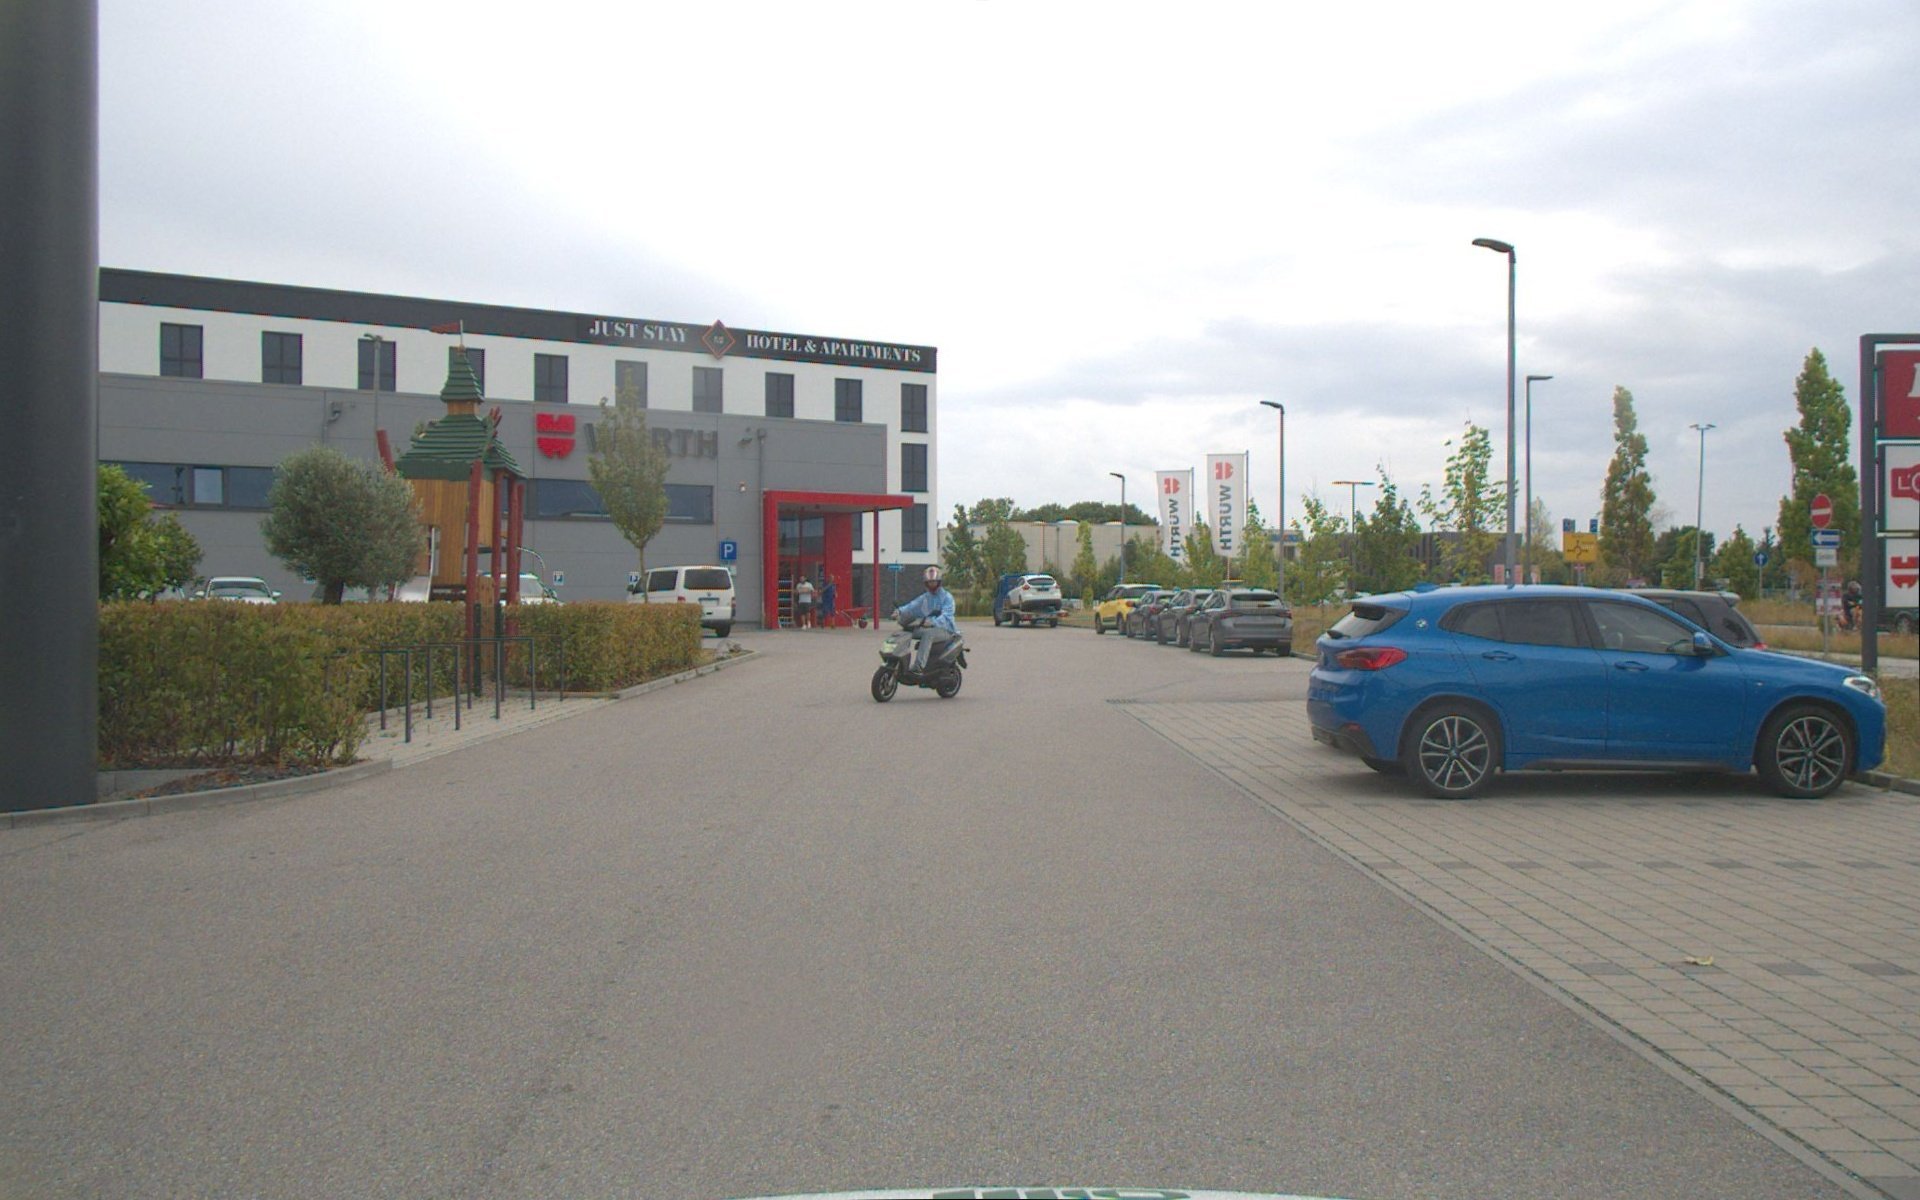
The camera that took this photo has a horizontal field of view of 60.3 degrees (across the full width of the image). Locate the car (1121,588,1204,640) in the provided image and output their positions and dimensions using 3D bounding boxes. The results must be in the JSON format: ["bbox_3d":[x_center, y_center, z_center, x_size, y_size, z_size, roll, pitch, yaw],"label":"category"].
[{"bbox_3d":[6.044,0.395,49.715,1.717,1.495,4.104,0,0,-4],"label":"car"}]

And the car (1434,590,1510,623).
[{"bbox_3d":[23.204,0.275,75.157,1.728,1.419,4.554,0,0,-5],"label":"car"}]

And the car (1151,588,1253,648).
[{"bbox_3d":[6.271,0.441,43.337,1.717,1.495,4.472,0,0,-4],"label":"car"}]

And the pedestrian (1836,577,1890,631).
[{"bbox_3d":[22.895,0.089,41.966,0.788,1.303,0.898,0,5,-6],"label":"pedestrian"}]

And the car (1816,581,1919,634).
[{"bbox_3d":[25.996,0.181,46.217,1.728,1.419,4.215,0,0,-5],"label":"car"}]

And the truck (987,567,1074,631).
[{"bbox_3d":[2.999,0.044,72.562,2.288,2.449,7.878,1,-3,-9],"label":"truck"}]

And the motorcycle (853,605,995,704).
[{"bbox_3d":[-0.451,0.694,21.757,0.781,1.229,1.910,-1,0,42],"label":"motorcycle"}]

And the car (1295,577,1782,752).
[{"bbox_3d":[5.307,0.564,15.568,3.977,1.485,1.776,-1,1,1],"label":"car"}]

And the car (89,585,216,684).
[{"bbox_3d":[-15.170,0.613,31.134,1.969,1.679,4.539,-2,0,-26],"label":"car"}]

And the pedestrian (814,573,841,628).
[{"bbox_3d":[-4.433,0.013,55.295,0.667,1.834,0.874,0,0,-24],"label":"pedestrian"}]

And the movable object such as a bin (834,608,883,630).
[{"bbox_3d":[-3.496,0.649,56.879,1.469,0.716,0.958,1,-1,-25],"label":"movable object such as a bin"}]

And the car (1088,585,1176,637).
[{"bbox_3d":[5.798,0.364,56.208,1.824,1.679,3.987,1,-1,-12],"label":"car"}]

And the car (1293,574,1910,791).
[{"bbox_3d":[4.851,0.594,12.946,4.116,1.571,1.864,0,0,0],"label":"car"}]

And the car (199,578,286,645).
[{"bbox_3d":[-18.595,0.299,42.781,1.717,1.579,4.224,-2,0,-28],"label":"car"}]

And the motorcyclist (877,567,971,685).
[{"bbox_3d":[-0.470,0.336,21.780,0.934,1.515,0.817,0,-1,-44],"label":"motorcyclist"}]

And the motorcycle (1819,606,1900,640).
[{"bbox_3d":[22.882,0.567,42.126,0.798,0.787,2.024,-2,1,-6],"label":"motorcycle"}]

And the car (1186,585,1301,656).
[{"bbox_3d":[6.352,0.434,37.558,1.716,1.495,4.474,0,0,-2],"label":"car"}]

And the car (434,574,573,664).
[{"bbox_3d":[-9.492,0.373,34.145,1.969,1.679,4.539,-2,0,-26],"label":"car"}]

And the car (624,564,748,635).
[{"bbox_3d":[-7.959,0.004,47.870,2.037,1.887,4.014,-3,1,-33],"label":"car"}]

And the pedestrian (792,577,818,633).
[{"bbox_3d":[-5.016,0.148,53.468,0.614,1.782,0.900,0,0,-20],"label":"pedestrian"}]

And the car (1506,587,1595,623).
[{"bbox_3d":[27.525,0.205,77.245,1.763,1.579,4.843,-2,0,-10],"label":"car"}]
